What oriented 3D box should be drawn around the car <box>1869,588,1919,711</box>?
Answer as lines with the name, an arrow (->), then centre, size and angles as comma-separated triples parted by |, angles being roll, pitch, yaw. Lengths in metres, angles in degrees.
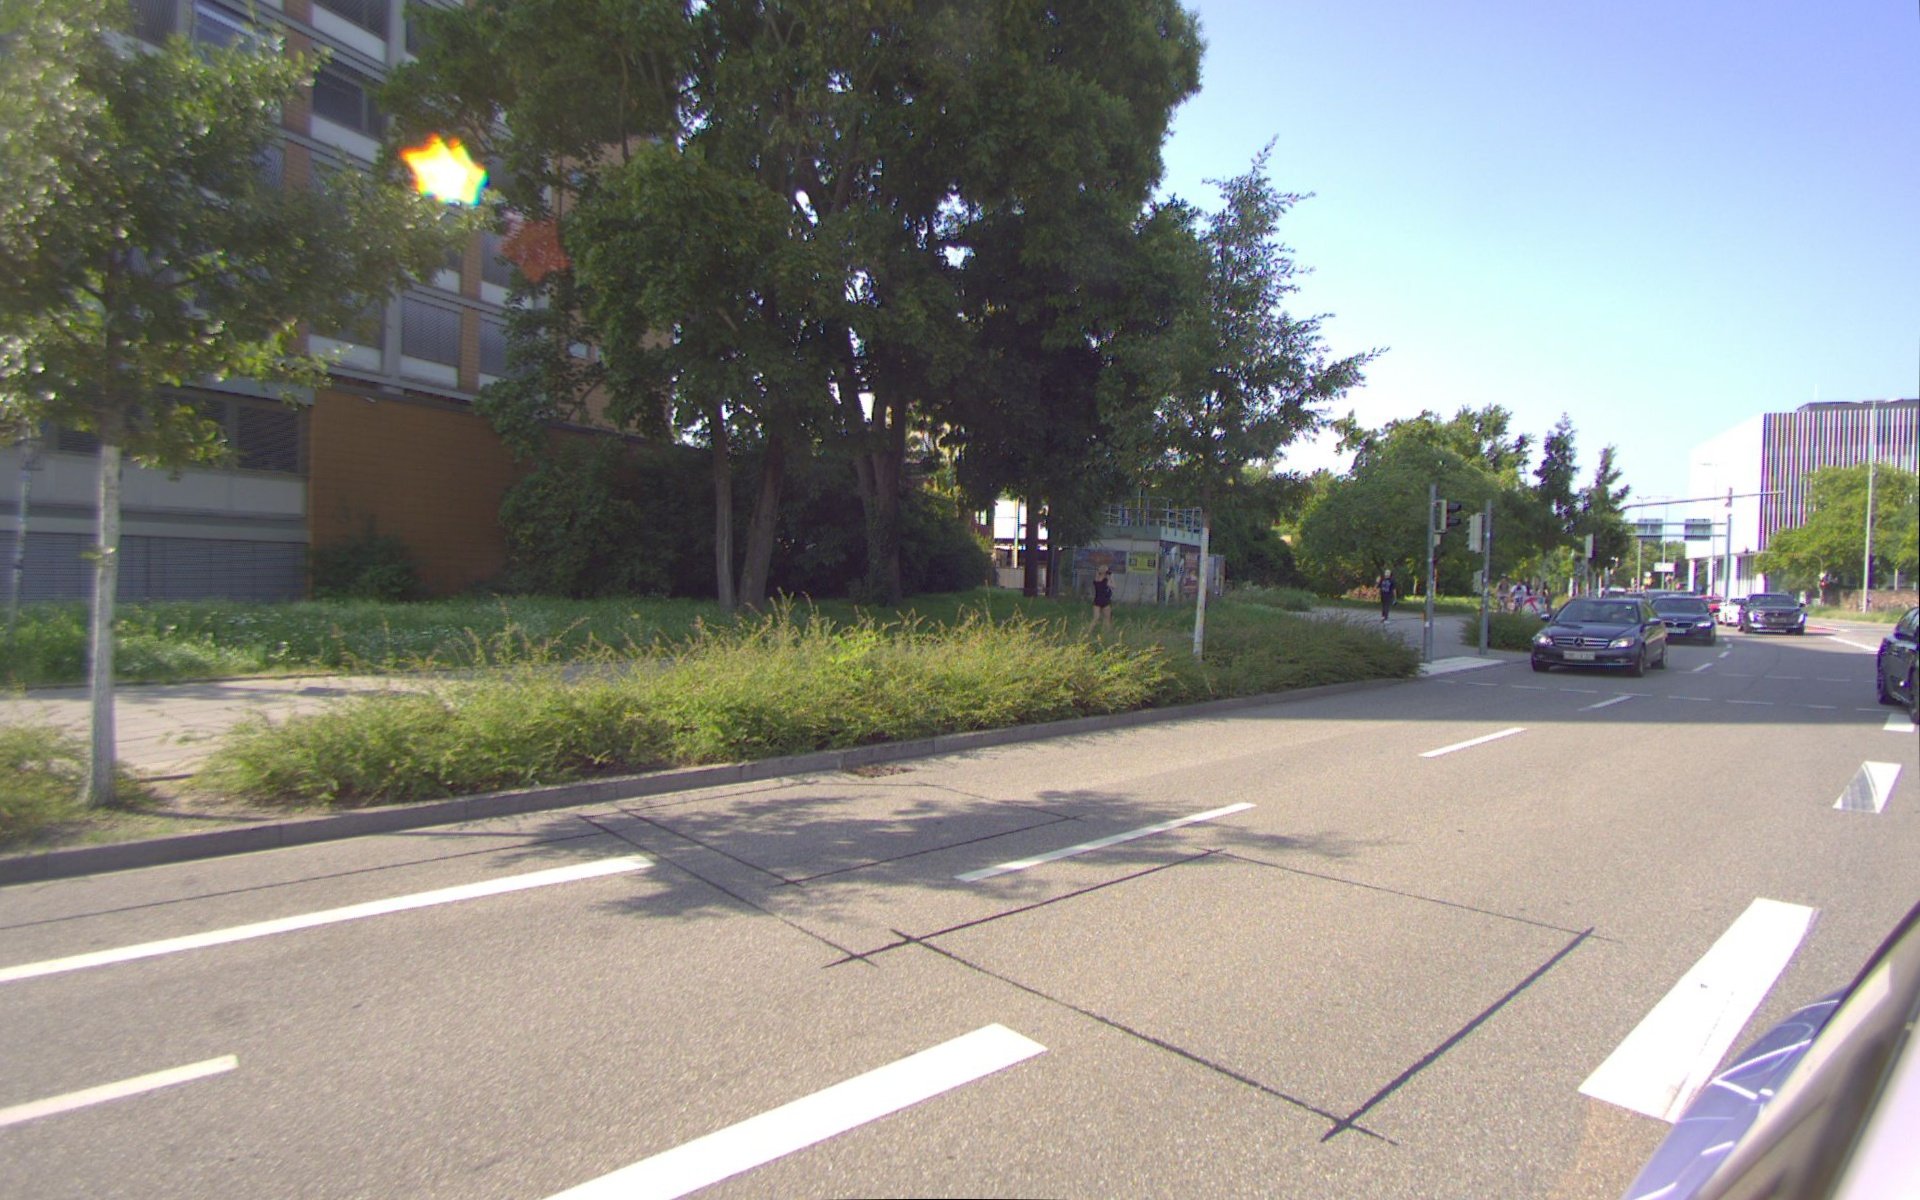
car -> 12.794, 0.605, 12.429 | 1.826, 1.453, 4.494 | 2, 2, 35

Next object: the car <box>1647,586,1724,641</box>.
car -> 22.313, 0.371, 31.054 | 1.680, 1.510, 4.608 | 3, 2, 38

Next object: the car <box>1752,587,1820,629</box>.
car -> 32.364, 0.261, 39.730 | 1.677, 1.510, 4.317 | 3, 2, 35

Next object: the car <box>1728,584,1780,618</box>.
car -> 37.828, -0.004, 48.283 | 1.774, 1.501, 4.474 | 2, 2, 36

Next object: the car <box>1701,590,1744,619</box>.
car -> 43.432, 0.232, 57.714 | 1.677, 1.510, 4.319 | 3, 2, 34

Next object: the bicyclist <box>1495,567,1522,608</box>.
bicyclist -> 22.180, -0.497, 40.912 | 0.770, 1.613, 0.911 | 2, 1, 40

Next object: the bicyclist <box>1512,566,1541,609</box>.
bicyclist -> 21.815, -0.496, 38.945 | 0.770, 1.612, 0.910 | 3, 2, 41

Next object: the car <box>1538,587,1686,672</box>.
car -> 12.729, 0.490, 19.647 | 1.682, 1.461, 4.304 | 0, 0, 43

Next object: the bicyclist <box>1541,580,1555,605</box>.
bicyclist -> 39.420, -0.517, 67.834 | 0.767, 1.697, 0.915 | 1, 1, 29

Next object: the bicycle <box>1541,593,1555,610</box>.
bicycle -> 39.440, 0.083, 67.892 | 0.767, 1.131, 2.280 | 1, 1, 29

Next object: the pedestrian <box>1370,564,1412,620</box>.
pedestrian -> 14.418, -0.272, 33.869 | 0.957, 1.804, 0.988 | 5, 3, 40

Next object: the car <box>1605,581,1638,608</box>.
car -> 51.573, -0.466, 78.967 | 1.673, 1.966, 4.330 | 2, 2, 28

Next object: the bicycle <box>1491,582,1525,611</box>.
bicycle -> 22.194, -0.152, 40.946 | 0.770, 1.131, 2.270 | 2, 1, 40

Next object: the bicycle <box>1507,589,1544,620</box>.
bicycle -> 21.740, 0.156, 38.889 | 0.770, 1.131, 2.270 | 3, 2, 40

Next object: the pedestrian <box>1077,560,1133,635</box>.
pedestrian -> 2.927, -0.059, 20.464 | 0.842, 1.461, 0.726 | 0, 1, -39
